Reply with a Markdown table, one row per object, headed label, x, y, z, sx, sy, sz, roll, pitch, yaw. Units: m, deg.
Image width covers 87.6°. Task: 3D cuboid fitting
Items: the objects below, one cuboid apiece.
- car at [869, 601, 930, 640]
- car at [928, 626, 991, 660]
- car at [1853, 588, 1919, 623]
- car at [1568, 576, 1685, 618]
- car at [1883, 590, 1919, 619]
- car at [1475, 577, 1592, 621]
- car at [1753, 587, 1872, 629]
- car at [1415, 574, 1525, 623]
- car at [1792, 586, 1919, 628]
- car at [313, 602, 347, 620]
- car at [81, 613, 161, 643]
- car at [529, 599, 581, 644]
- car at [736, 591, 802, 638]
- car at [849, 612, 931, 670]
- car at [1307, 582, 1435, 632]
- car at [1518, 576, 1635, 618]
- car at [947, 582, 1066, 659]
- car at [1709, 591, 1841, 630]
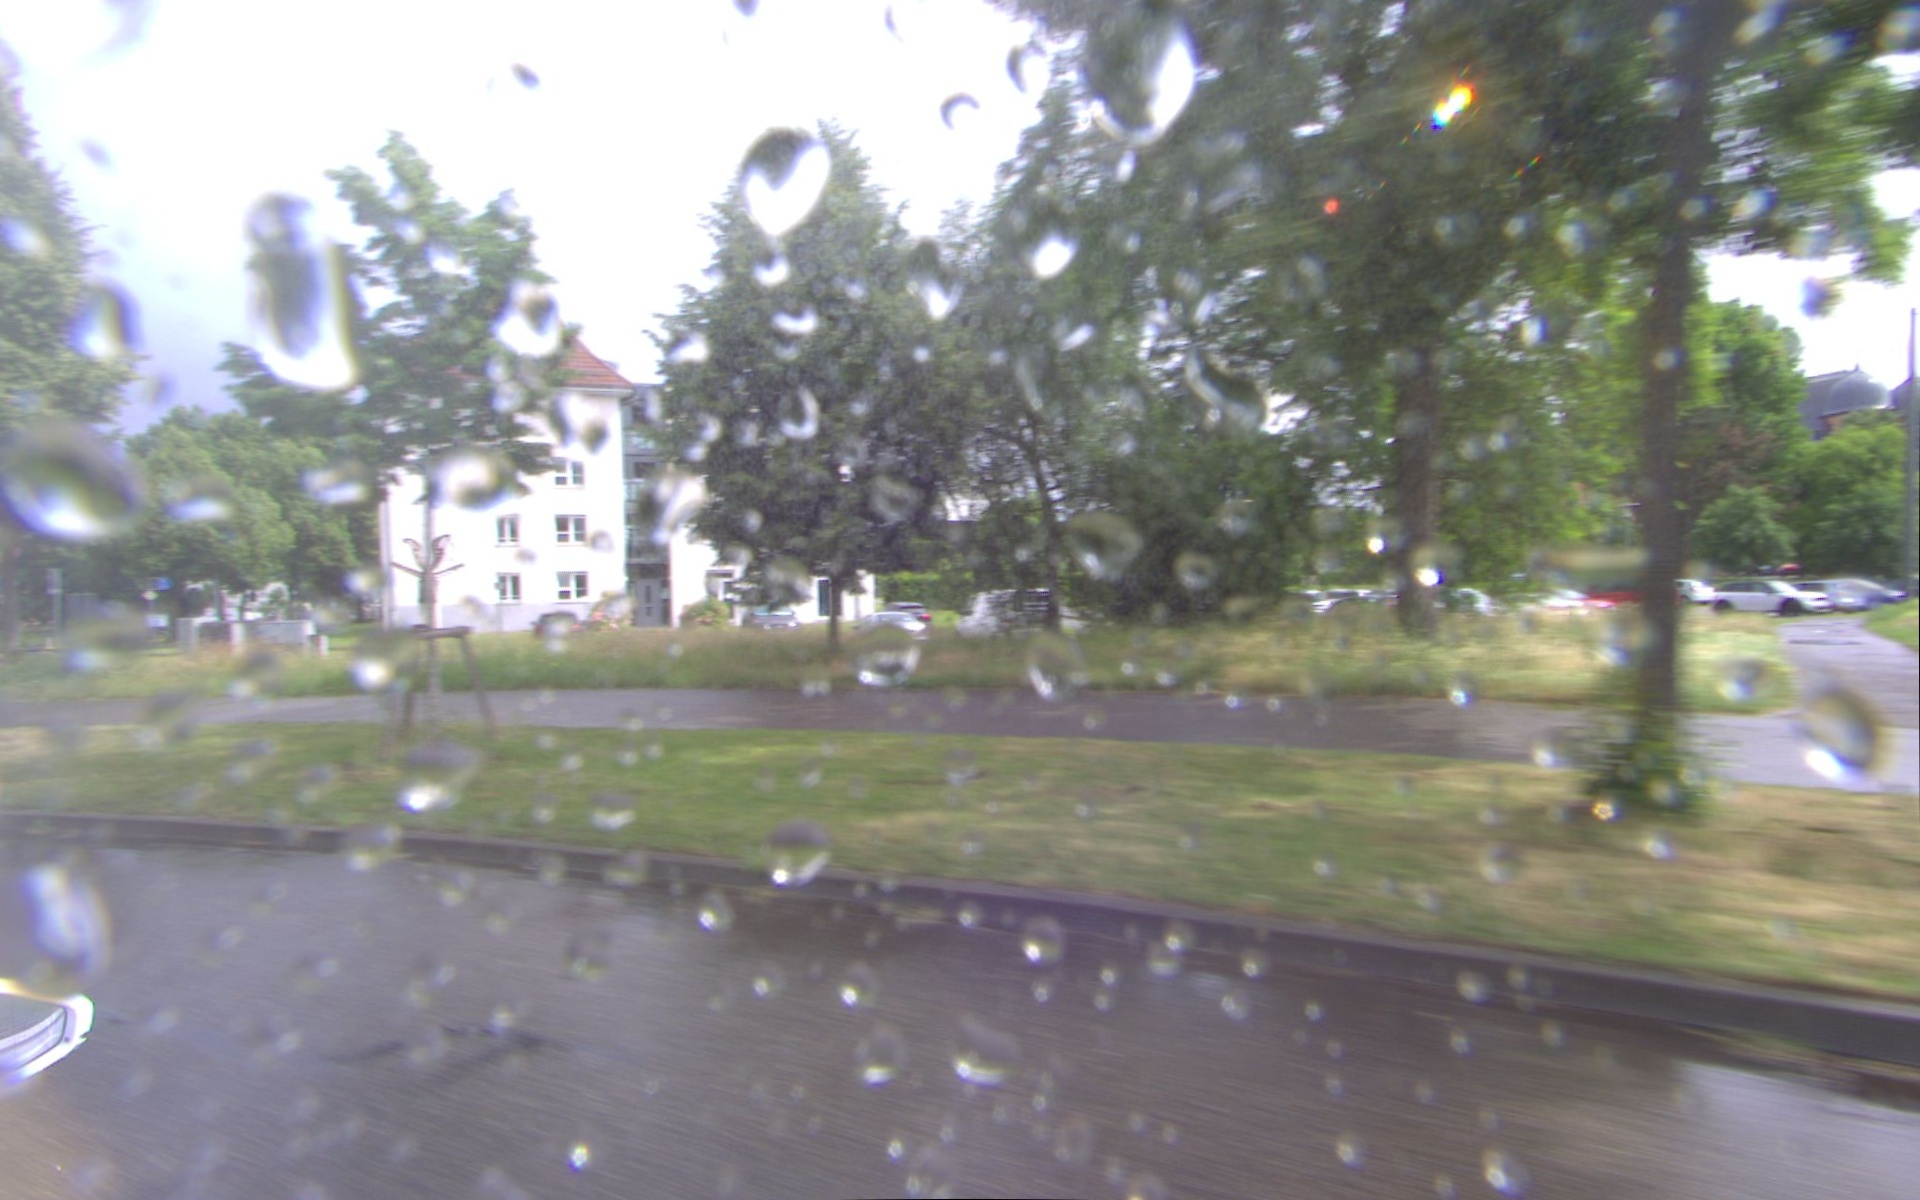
| label | x | y | z | sx | sy | sz | roll | pitch | yaw |
| --- | --- | --- | --- | --- | --- | --- | --- | --- | --- |
| car | -2.541 | 0.816 | 41.322 | 1.634 | 1.364 | 3.570 | -1 | 3 | -18 |
| car | -0.062 | 1.808 | 42.881 | 1.634 | 1.252 | 3.573 | -1 | 0 | -19 |
| car | 43.492 | 0.228 | 45.485 | 1.818 | 1.580 | 3.969 | -1 | 0 | -20 |
| car | 25.649 | -0.101 | 38.673 | 1.620 | 1.530 | 3.644 | -1 | 0 | -14 |
| car | 45.935 | 0.194 | 46.613 | 1.818 | 1.325 | 3.969 | -1 | 0 | -20 |
| car | 21.024 | -0.035 | 36.832 | 1.616 | 1.481 | 3.603 | -1 | 0 | -17 |
| car | 36.590 | 0.352 | 43.086 | 1.524 | 1.682 | 3.620 | -1 | 0 | -20 |
| car | 18.601 | -0.041 | 36.708 | 1.522 | 1.681 | 3.643 | -1 | 0 | -16 |
| car | 39.345 | 0.292 | 43.882 | 1.965 | 1.737 | 3.991 | -1 | 0 | -19 |
| car | -66.762 | 1.124 | 106.211 | 2.046 | 1.755 | 4.685 | 1 | 0 | -20 |
| car | -53.696 | 1.767 | 64.187 | 2.044 | 1.755 | 4.691 | 1 | 0 | -13 |
| car | -14.790 | 0.735 | 36.519 | 1.648 | 1.502 | 3.727 | -1 | 1 | -23 |
| car | -7.508 | 0.519 | 39.182 | 1.821 | 1.574 | 4.091 | -1 | 3 | -21 |
| car | -2.096 | 1.127 | 29.154 | 1.580 | 1.530 | 3.614 | -1 | 0 | -17 |
| car | 13.906 | 0.238 | 34.124 | 1.818 | 1.580 | 3.969 | -1 | 0 | -20 |
| car | 23.274 | -0.109 | 37.929 | 1.616 | 1.481 | 3.603 | -1 | 0 | -17 |
| car | 1.291 | 0.545 | 30.564 | 2.075 | 2.085 | 5.151 | -2 | 1 | -16 |
| car | 34.379 | 0.444 | 42.361 | 1.768 | 1.548 | 3.990 | -1 | 0 | -20 |
